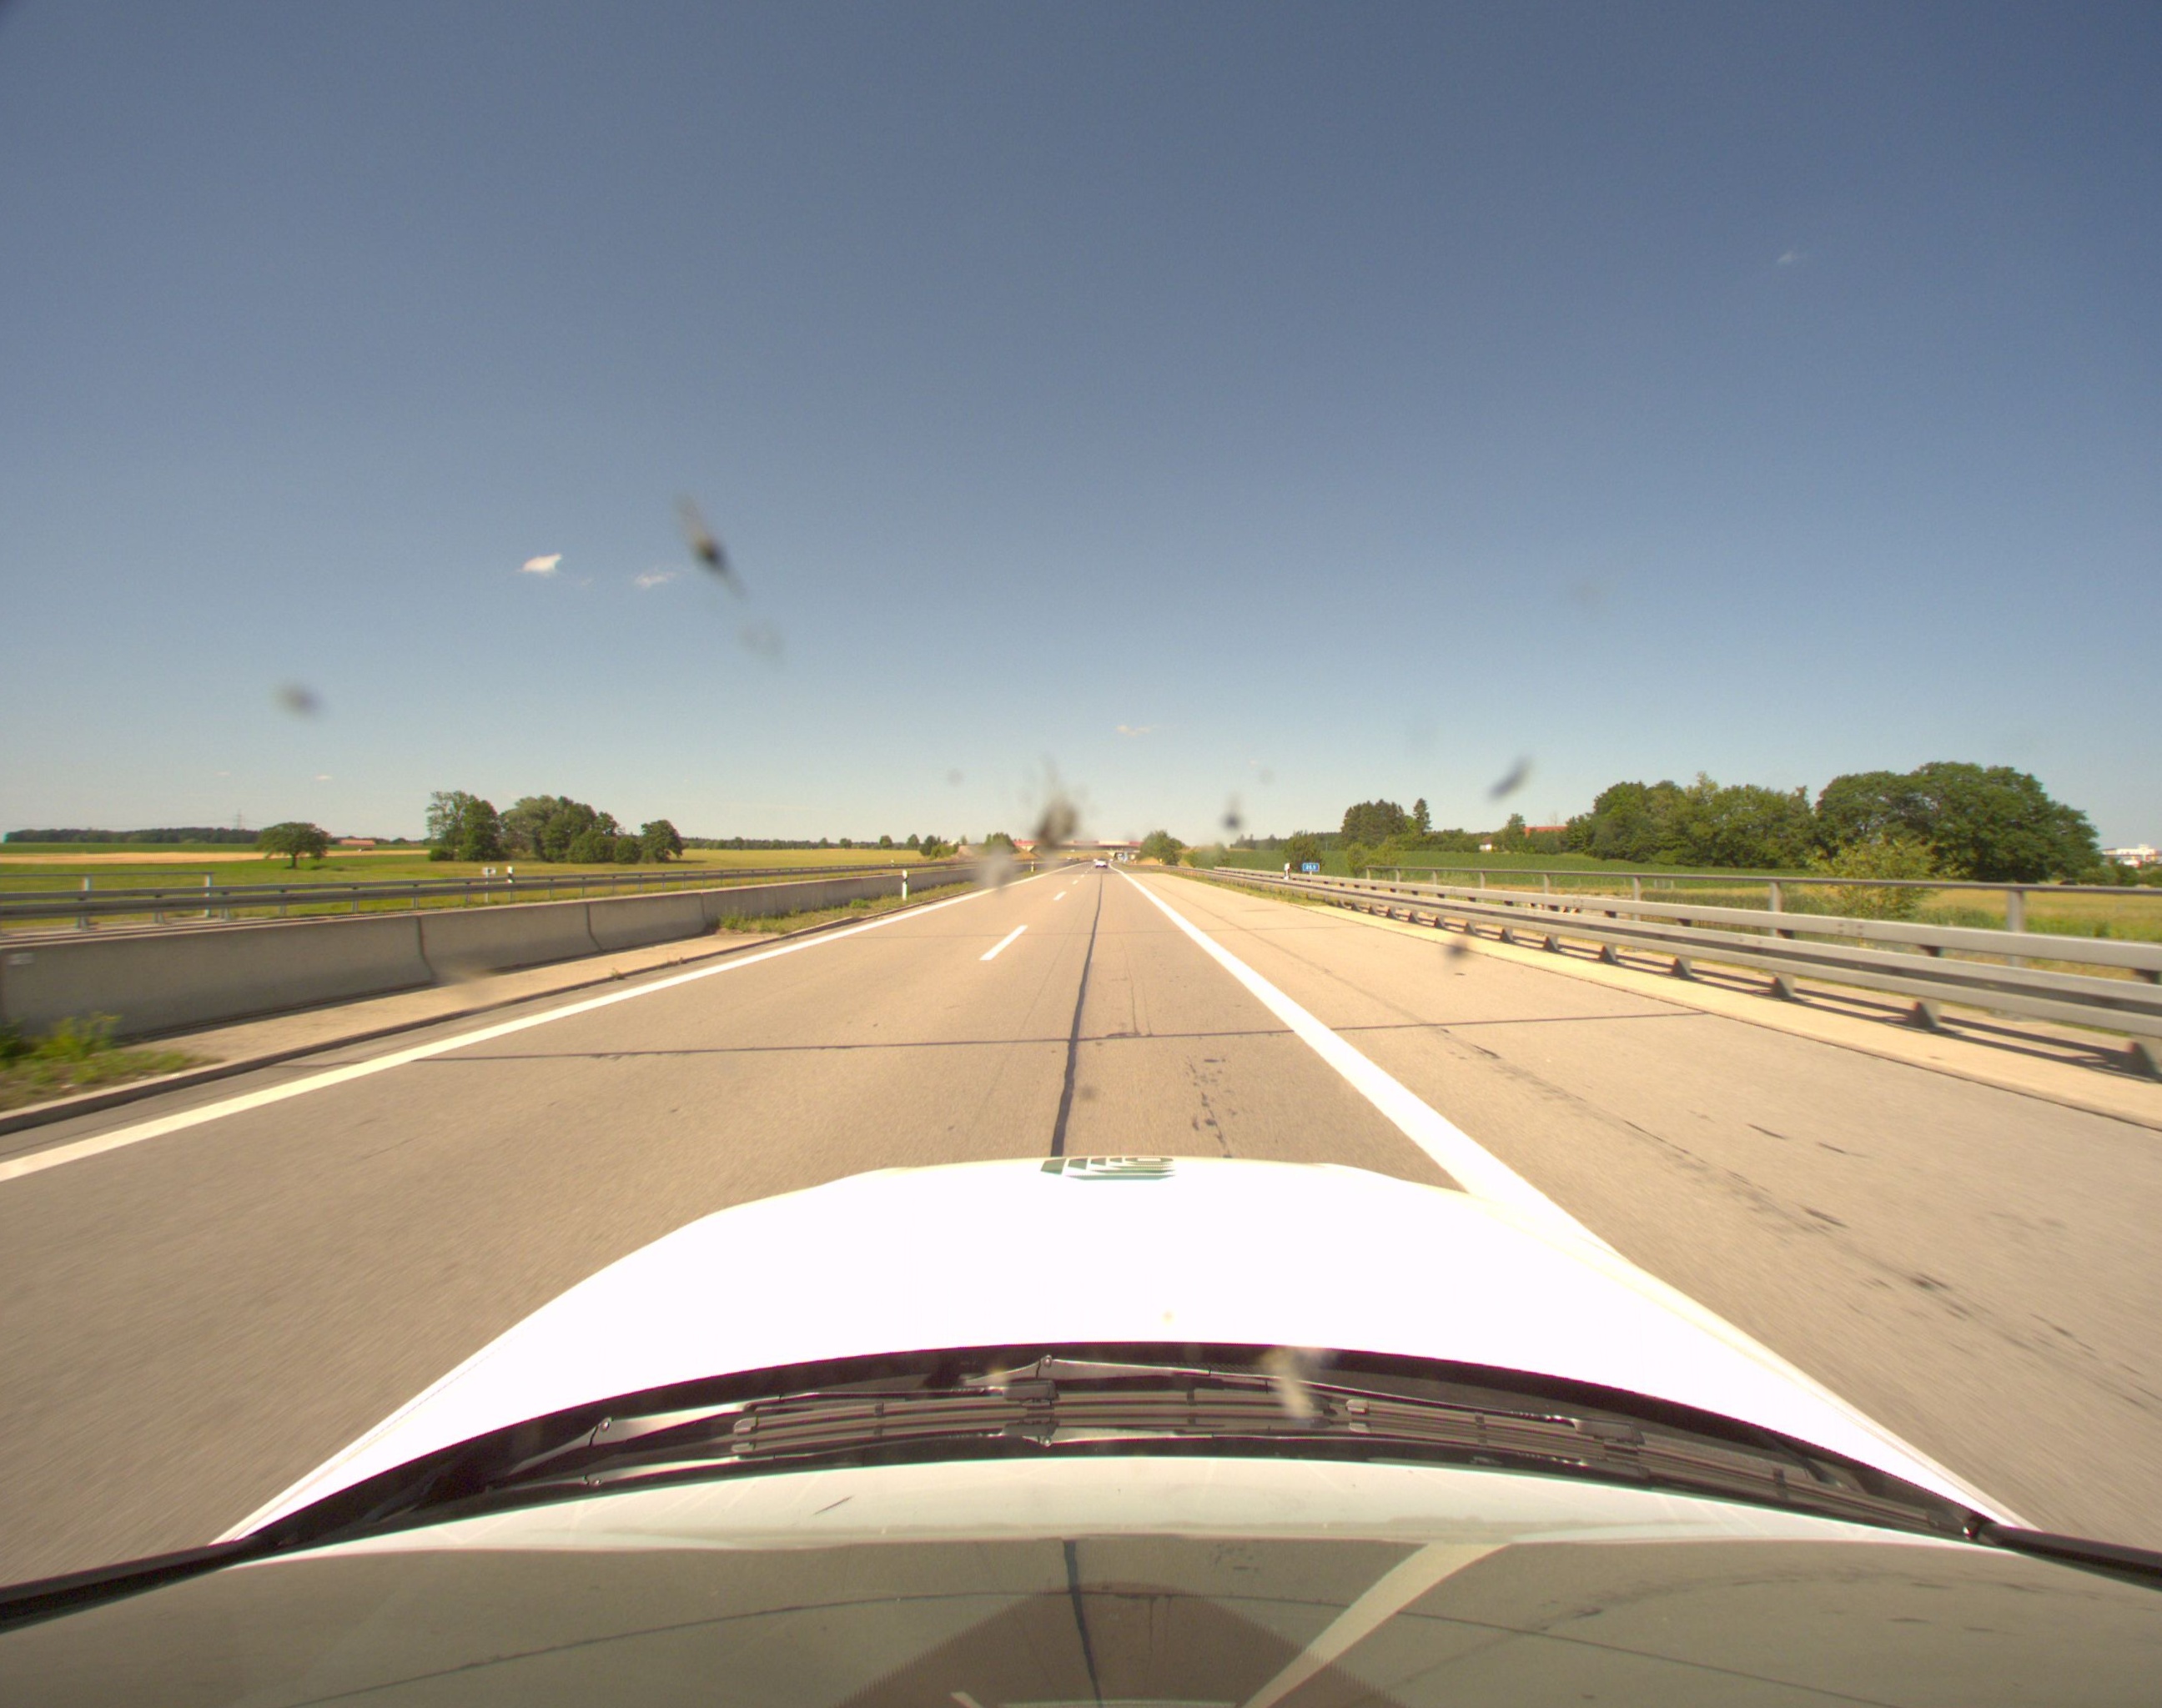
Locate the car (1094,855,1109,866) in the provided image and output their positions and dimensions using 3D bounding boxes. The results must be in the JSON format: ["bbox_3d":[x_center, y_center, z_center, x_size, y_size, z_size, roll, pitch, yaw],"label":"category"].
[{"bbox_3d":[3.213,1.030,127.297,1.988,1.731,4.865,0,0,-2],"label":"car"}]

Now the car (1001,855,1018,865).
[{"bbox_3d":[-10.752,0.901,122.137,1.891,1.523,4.807,-2,0,2],"label":"car"}]
